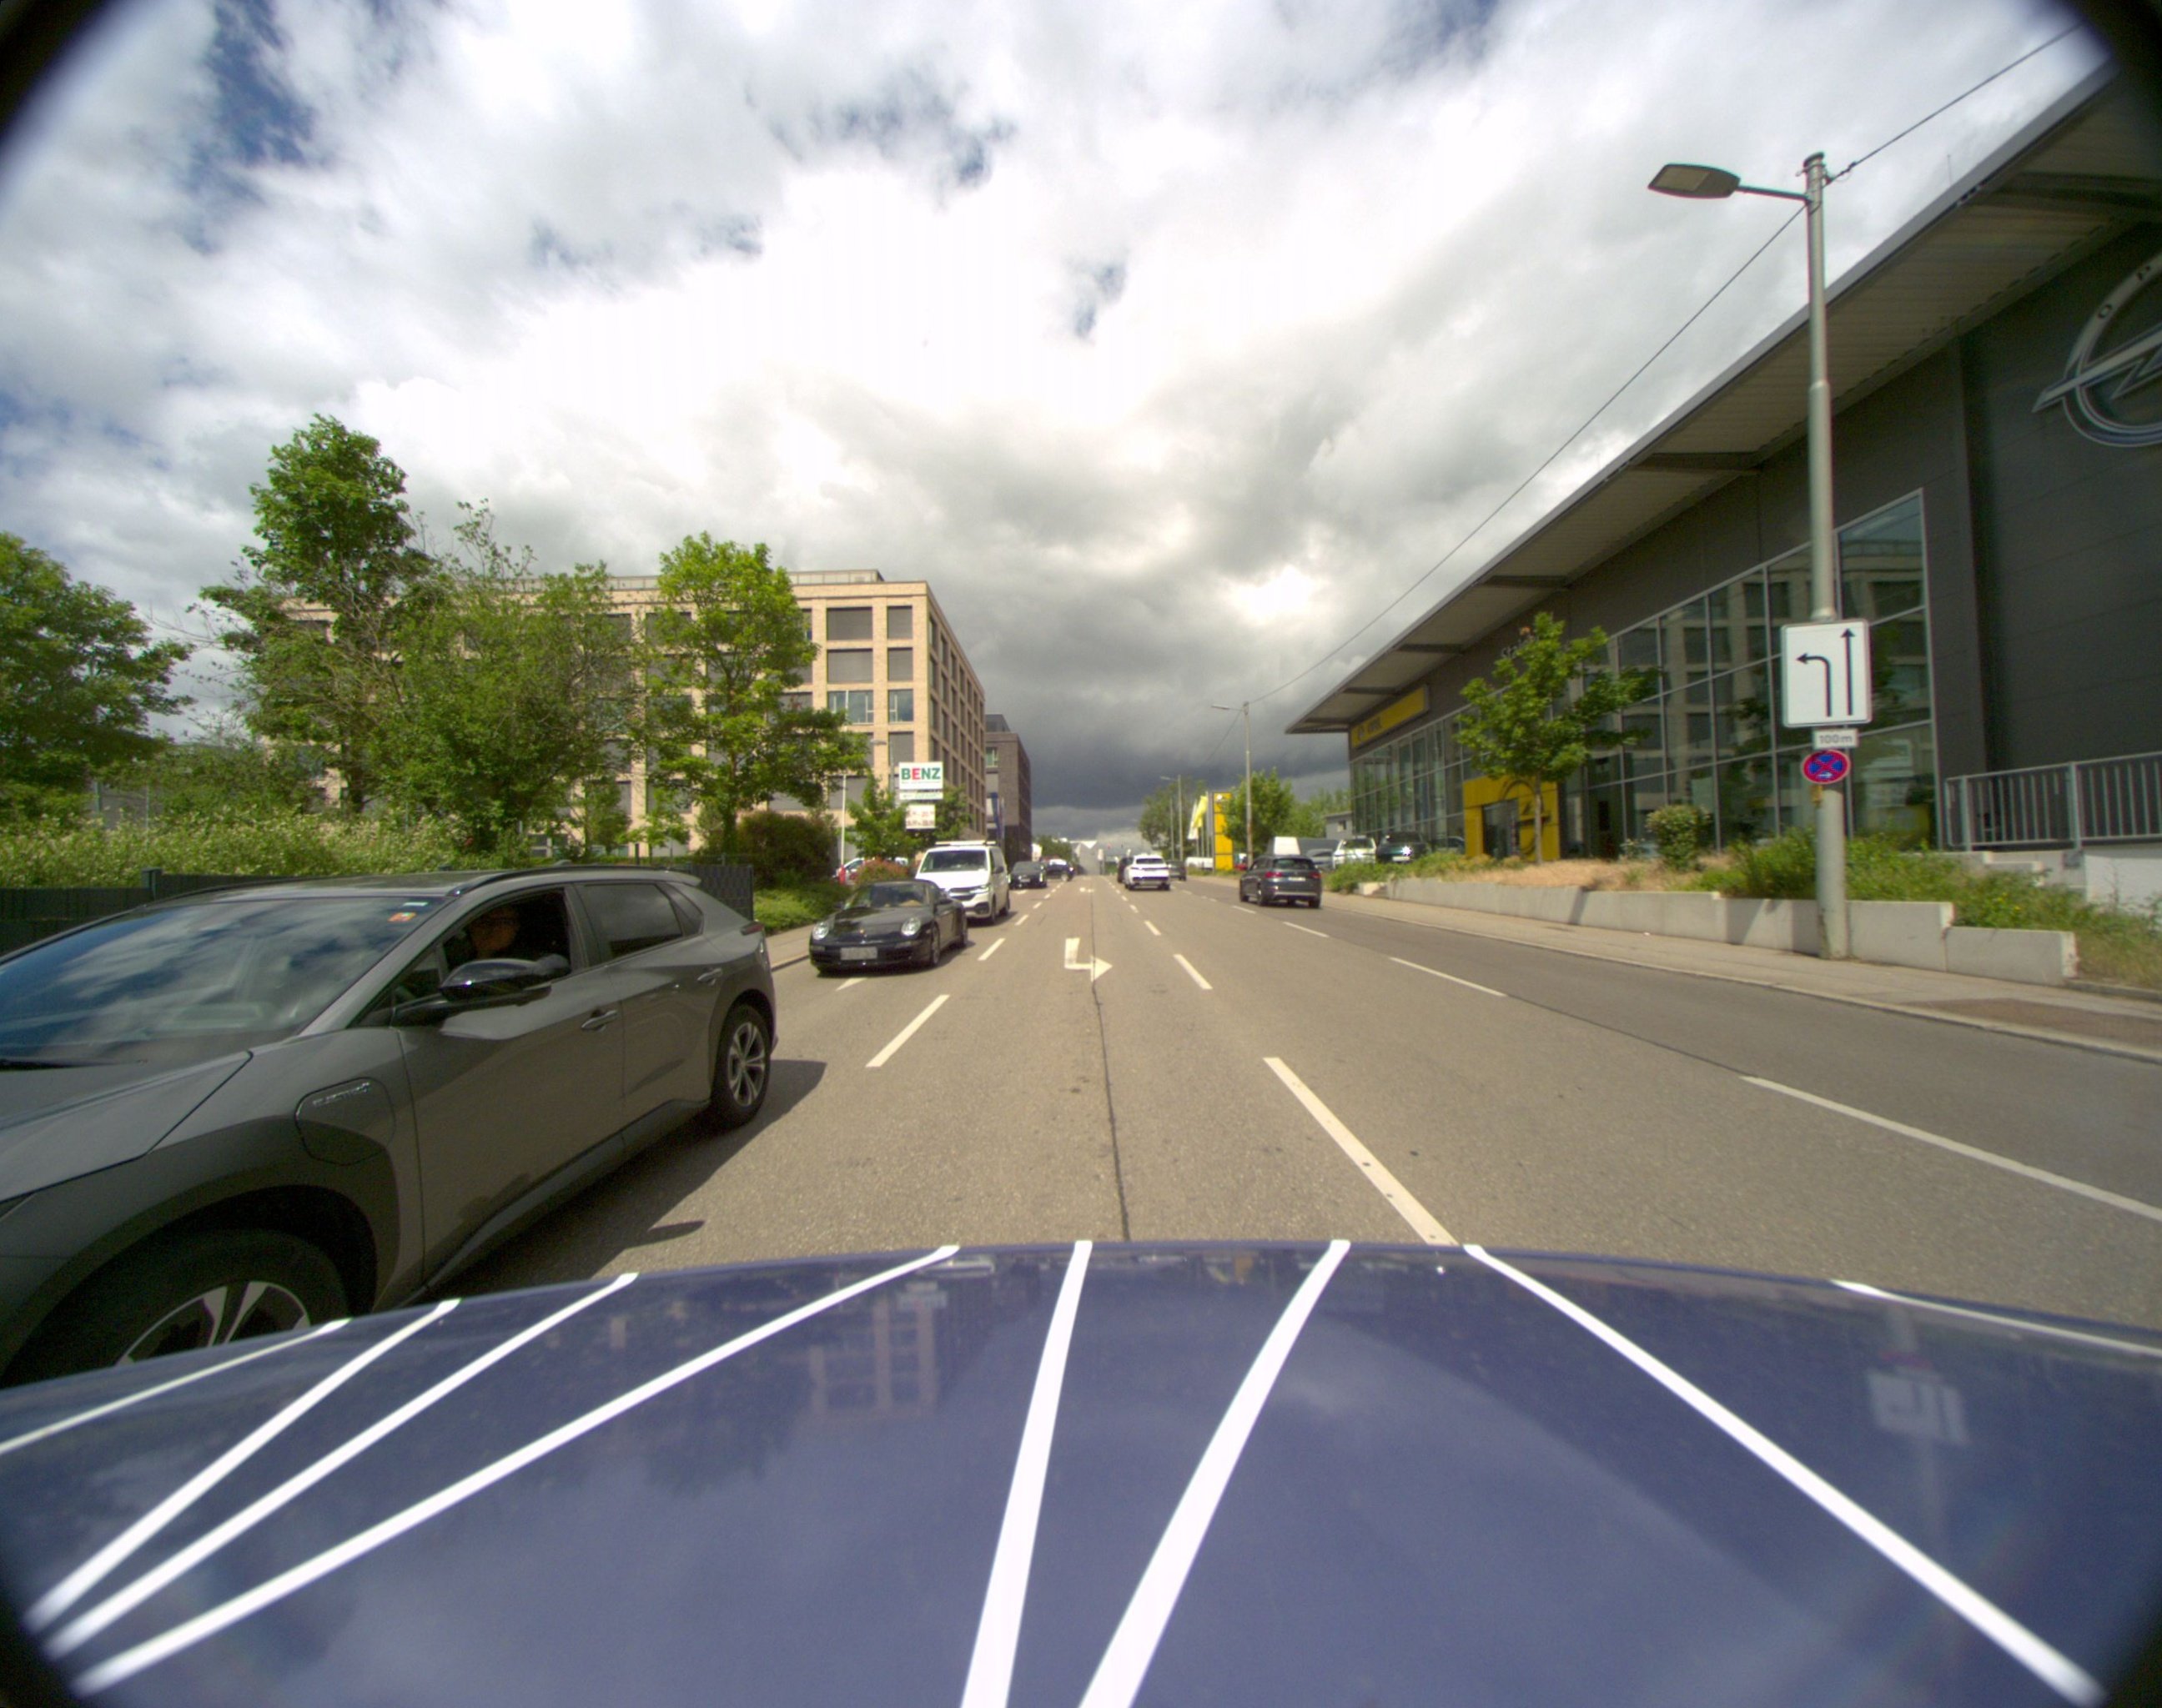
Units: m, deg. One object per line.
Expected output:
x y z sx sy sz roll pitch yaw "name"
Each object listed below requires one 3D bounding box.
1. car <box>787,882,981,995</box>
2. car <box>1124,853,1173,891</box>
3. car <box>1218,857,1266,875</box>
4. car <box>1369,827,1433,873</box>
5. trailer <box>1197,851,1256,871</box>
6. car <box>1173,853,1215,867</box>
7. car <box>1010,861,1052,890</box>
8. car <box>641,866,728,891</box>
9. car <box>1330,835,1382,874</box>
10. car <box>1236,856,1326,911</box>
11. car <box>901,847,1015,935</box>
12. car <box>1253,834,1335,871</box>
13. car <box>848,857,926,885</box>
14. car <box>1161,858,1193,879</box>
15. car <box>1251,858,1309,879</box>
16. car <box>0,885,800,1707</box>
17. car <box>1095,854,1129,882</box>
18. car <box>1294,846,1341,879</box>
-2.911 1.199 12.335 1.777 1.267 4.569 -3 0 2 "car"
3.121 0.807 35.796 1.924 1.604 4.416 -1 0 1 "car"
13.699 1.016 64.795 3.669 1.401 1.815 -1 0 2 "car"
12.173 -0.135 28.777 1.817 1.604 4.117 -1 0 29 "car"
13.141 0.640 68.681 4.835 1.742 2.095 -1 0 -3 "trailer"
12.512 0.654 84.357 4.252 1.473 2.095 -1 0 -2 "car"
-2.655 1.140 41.349 1.777 1.267 4.568 -2 1 2 "car"
-23.383 1.434 44.921 4.219 1.410 1.735 -1 0 -1 "car"
12.198 -0.009 33.546 1.793 1.604 4.115 -1 1 25 "car"
6.147 0.855 23.826 1.763 1.513 3.957 -1 0 0 "car"
-2.931 0.830 19.175 1.964 1.840 4.645 -3 0 1 "car"
13.362 -0.083 47.812 4.531 2.182 2.179 -1 1 -1 "car"
-11.568 1.007 45.496 4.220 1.567 1.735 -1 0 -4 "car"
6.652 0.970 52.897 1.763 1.405 3.734 1 0 1 "car"
14.955 1.054 57.320 3.946 1.518 1.561 -1 0 -2 "car"
-2.920 1.048 2.776 1.924 1.604 4.683 -3 0 1 "car"
1.873 0.849 47.010 1.797 1.604 4.108 -1 0 -1 "car"
12.209 0.442 39.095 1.794 1.604 4.116 -1 0 24 "car"
